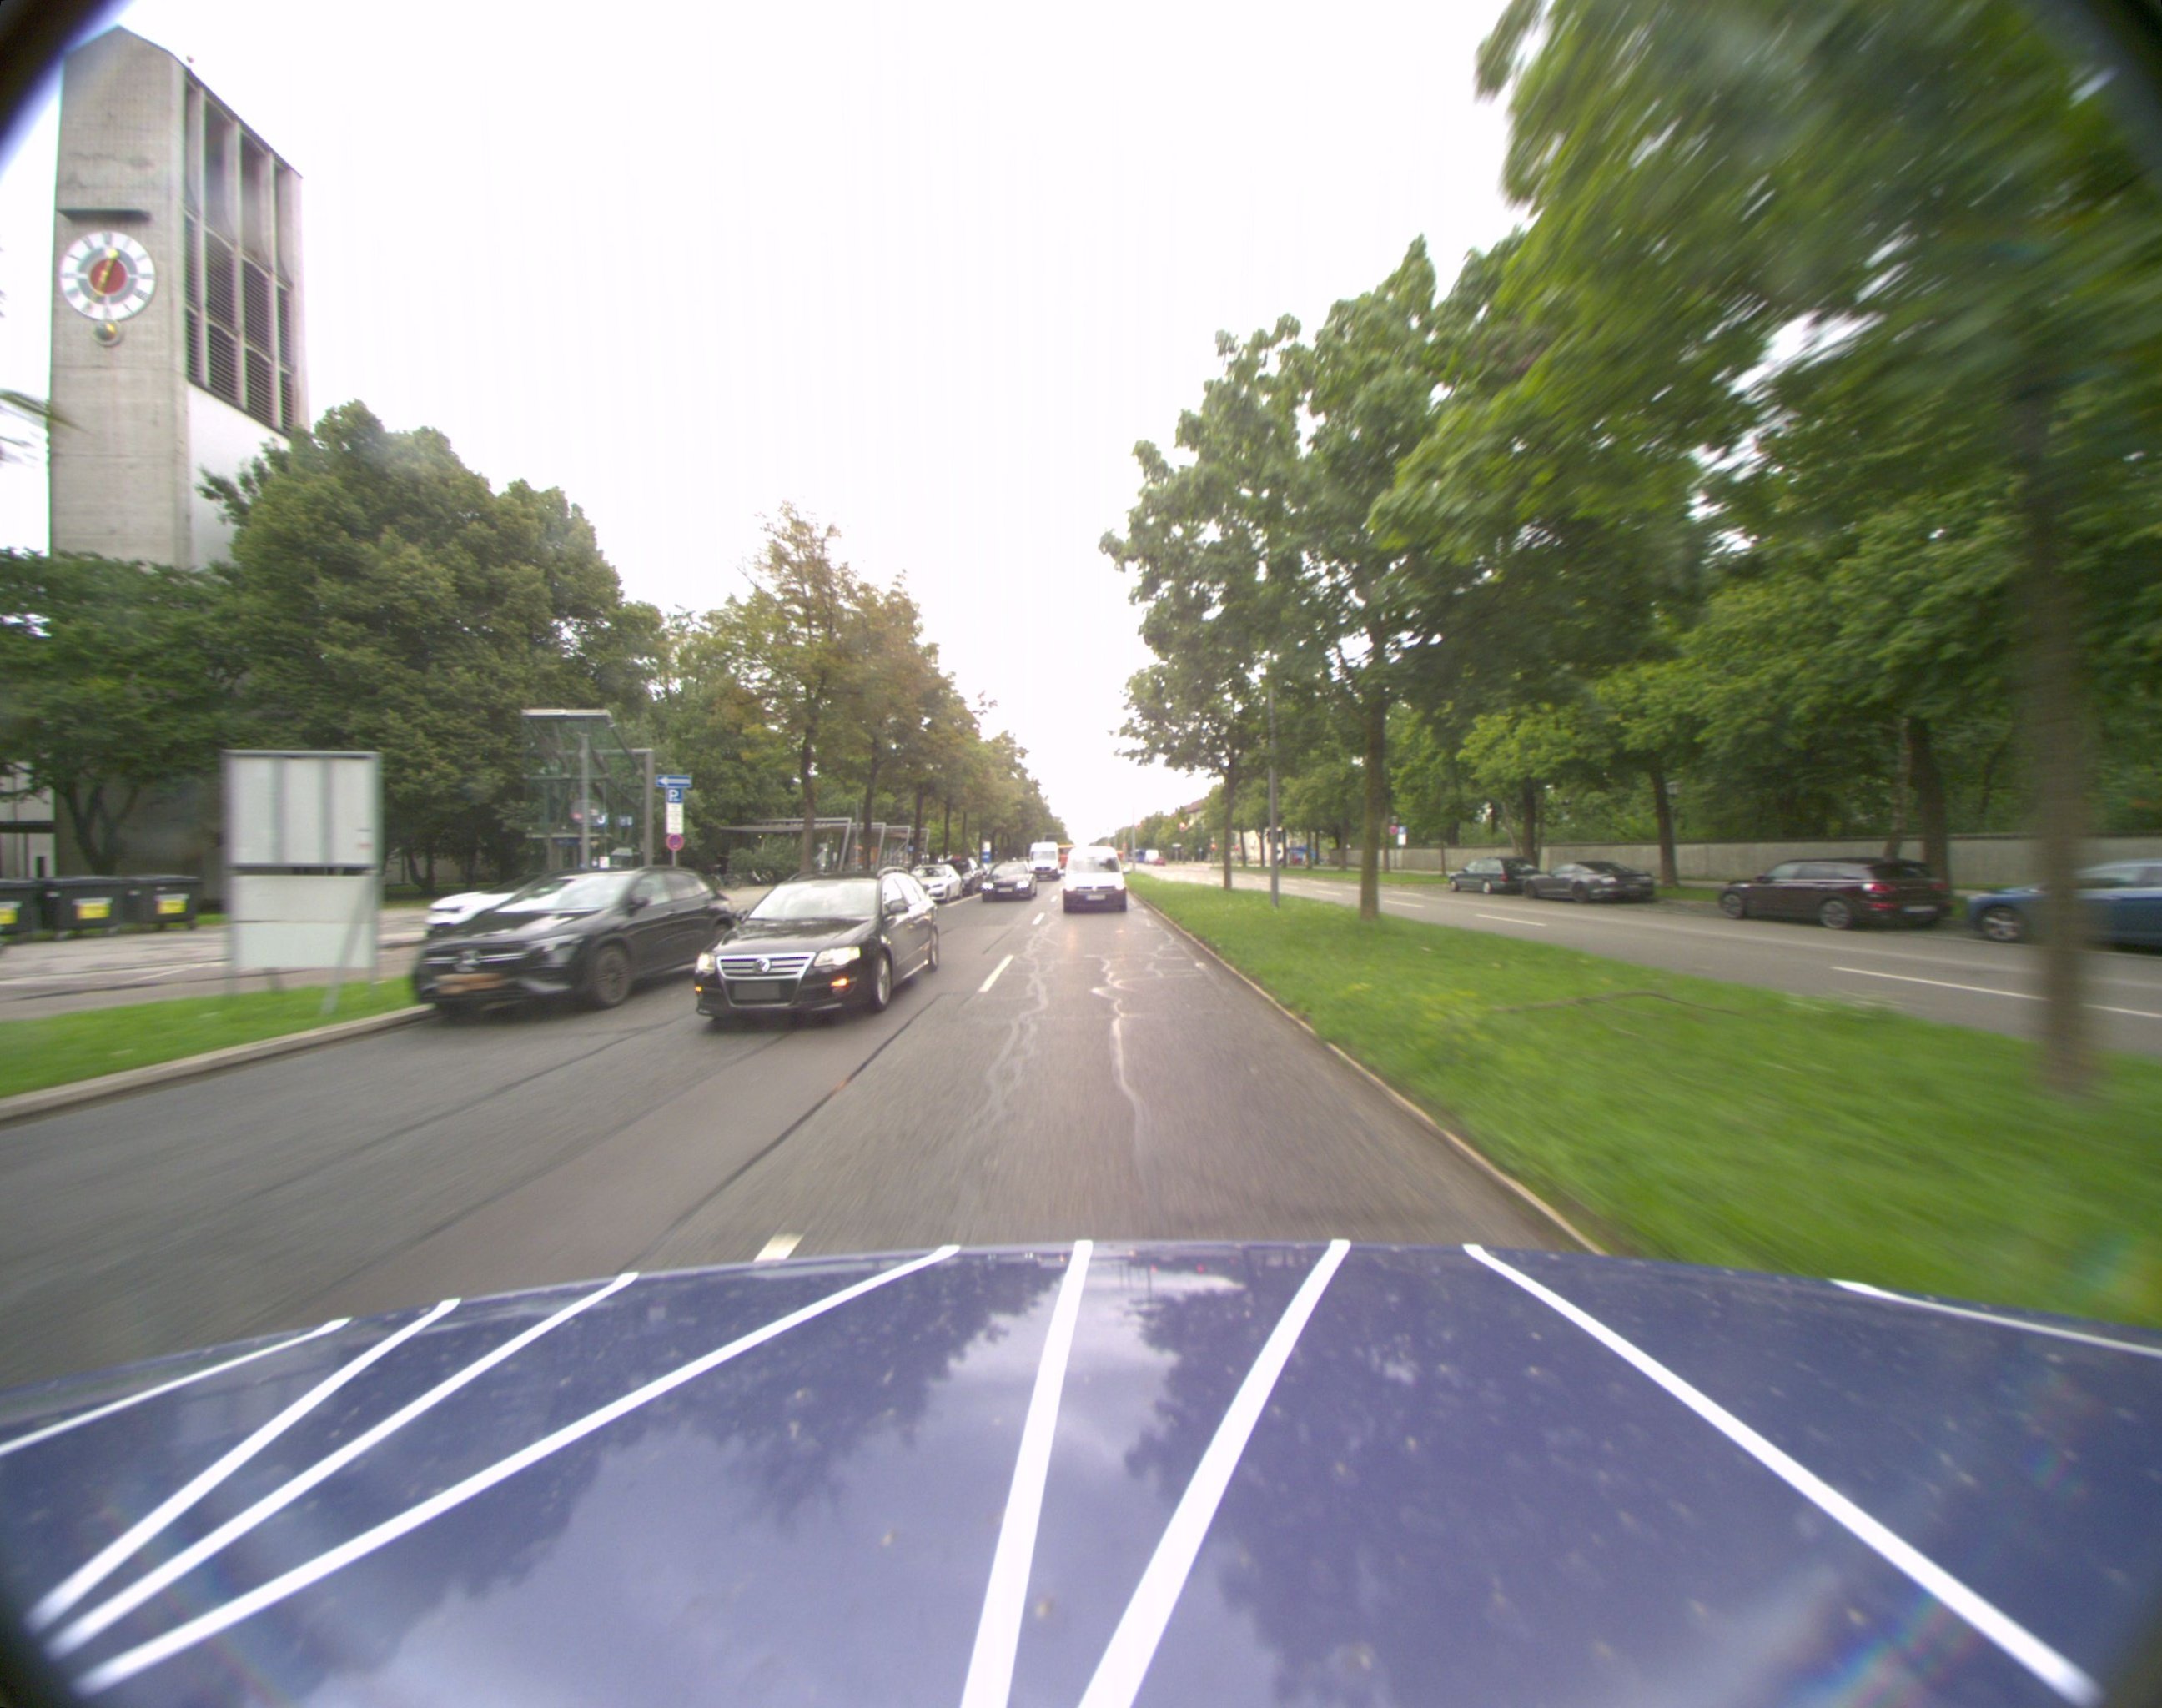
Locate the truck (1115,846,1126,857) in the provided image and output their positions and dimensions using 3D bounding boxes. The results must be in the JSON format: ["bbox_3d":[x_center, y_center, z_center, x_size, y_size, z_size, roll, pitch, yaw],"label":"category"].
[{"bbox_3d":[12.251,-0.824,235.430,2.787,3.336,7.265,-1,0,0],"label":"truck"}]

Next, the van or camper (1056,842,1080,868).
[{"bbox_3d":[-1.601,0.115,98.538,2.780,3.219,7.074,-1,0,1],"label":"van or camper"}]

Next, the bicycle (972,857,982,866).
[{"bbox_3d":[-13.175,0.949,96.032,0.863,1.191,2.000,1,0,5],"label":"bicycle"}]

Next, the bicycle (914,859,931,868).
[{"bbox_3d":[-20.085,1.198,96.353,0.716,1.147,2.133,0,1,41],"label":"bicycle"}]

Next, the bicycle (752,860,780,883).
[{"bbox_3d":[-18.897,1.032,45.656,0.606,1.273,2.550,-1,0,1],"label":"bicycle"}]

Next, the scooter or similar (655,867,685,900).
[{"bbox_3d":[-16.155,1.158,29.865,0.421,1.226,1.237,-1,0,3],"label":"scooter or similar"}]

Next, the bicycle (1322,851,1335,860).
[{"bbox_3d":[32.932,0.162,101.176,0.837,1.179,2.496,-1,0,-1],"label":"bicycle"}]

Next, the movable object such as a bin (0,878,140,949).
[{"bbox_3d":[-21.616,1.239,16.224,1.339,1.401,1.314,-1,1,-1],"label":"movable object such as a bin"}]

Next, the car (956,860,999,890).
[{"bbox_3d":[-5.381,1.046,40.042,1.637,1.430,4.304,-1,0,0],"label":"car"}]

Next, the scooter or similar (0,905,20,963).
[{"bbox_3d":[-19.369,1.423,13.272,0.501,1.012,0.833,1,1,1],"label":"scooter or similar"}]

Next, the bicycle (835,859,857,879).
[{"bbox_3d":[-15.731,0.989,50.938,0.646,1.273,2.550,-1,0,1],"label":"bicycle"}]

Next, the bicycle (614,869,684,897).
[{"bbox_3d":[-18.053,1.216,31.791,2.548,1.082,0.647,-1,1,1],"label":"bicycle"}]

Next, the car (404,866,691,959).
[{"bbox_3d":[-11.711,1.179,17.036,1.968,1.615,4.856,-1,0,38],"label":"car"}]

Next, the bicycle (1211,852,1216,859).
[{"bbox_3d":[24.539,0.261,140.608,0.546,1.174,1.826,-1,0,0],"label":"bicycle"}]

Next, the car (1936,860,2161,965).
[{"bbox_3d":[16.626,0.869,11.657,1.590,1.450,4.798,-2,0,0],"label":"car"}]

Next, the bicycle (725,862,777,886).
[{"bbox_3d":[-18.183,1.079,41.848,2.548,1.273,0.647,-1,1,1],"label":"bicycle"}]

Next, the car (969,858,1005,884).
[{"bbox_3d":[-5.773,1.036,47.211,1.638,1.445,4.078,-1,0,1],"label":"car"}]

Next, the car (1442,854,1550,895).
[{"bbox_3d":[16.952,0.776,31.376,1.804,1.481,4.915,-2,0,1],"label":"car"}]

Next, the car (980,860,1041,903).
[{"bbox_3d":[-2.646,1.001,29.601,1.819,1.421,4.671,-3,0,1],"label":"car"}]

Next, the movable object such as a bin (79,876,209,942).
[{"bbox_3d":[-21.611,1.236,17.572,1.339,1.401,1.314,-1,1,-1],"label":"movable object such as a bin"}]

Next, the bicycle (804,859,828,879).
[{"bbox_3d":[-17.740,1.021,50.992,0.646,1.273,2.550,-1,0,1],"label":"bicycle"}]

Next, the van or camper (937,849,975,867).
[{"bbox_3d":[-16.046,0.463,98.112,2.144,2.283,6.207,-1,0,18],"label":"van or camper"}]

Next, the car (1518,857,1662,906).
[{"bbox_3d":[16.791,0.846,25.377,1.663,1.388,4.706,-2,0,1],"label":"car"}]

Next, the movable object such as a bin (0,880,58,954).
[{"bbox_3d":[-21.612,1.243,14.874,1.339,1.401,1.314,-1,1,-1],"label":"movable object such as a bin"}]

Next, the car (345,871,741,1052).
[{"bbox_3d":[-6.119,1.077,9.473,1.766,1.580,4.452,-1,0,0],"label":"car"}]

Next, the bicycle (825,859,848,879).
[{"bbox_3d":[-16.402,1.013,50.948,0.646,1.273,2.550,-1,0,1],"label":"bicycle"}]

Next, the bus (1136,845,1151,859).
[{"bbox_3d":[15.788,-0.532,193.020,2.752,3.324,12.047,0,0,-1],"label":"bus"}]

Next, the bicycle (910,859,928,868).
[{"bbox_3d":[-20.671,1.220,96.905,0.716,1.147,2.133,0,1,41],"label":"bicycle"}]

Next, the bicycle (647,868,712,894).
[{"bbox_3d":[-18.001,1.212,34.081,2.548,1.082,0.647,-1,1,1],"label":"bicycle"}]

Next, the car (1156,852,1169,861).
[{"bbox_3d":[13.653,0.425,127.293,1.747,1.443,4.657,1,0,1],"label":"car"}]

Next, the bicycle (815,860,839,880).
[{"bbox_3d":[-17.062,1.035,51.075,0.646,1.273,2.550,-1,0,1],"label":"bicycle"}]

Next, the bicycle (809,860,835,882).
[{"bbox_3d":[-15.509,0.998,45.621,0.646,1.273,2.550,-1,0,1],"label":"bicycle"}]

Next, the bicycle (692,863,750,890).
[{"bbox_3d":[-17.818,1.094,37.661,2.548,1.273,0.647,-1,1,1],"label":"bicycle"}]

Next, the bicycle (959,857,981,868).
[{"bbox_3d":[-12.656,0.942,86.423,2.344,1.151,0.585,1,0,0],"label":"bicycle"}]

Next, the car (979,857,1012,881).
[{"bbox_3d":[-5.825,1.016,52.247,1.722,1.500,4.223,-1,0,1],"label":"car"}]

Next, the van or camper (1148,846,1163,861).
[{"bbox_3d":[13.735,-0.032,140.705,2.183,2.631,6.951,1,0,1],"label":"van or camper"}]

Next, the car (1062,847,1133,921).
[{"bbox_3d":[0.379,0.737,21.293,1.752,1.809,4.670,-1,0,-1],"label":"car"}]

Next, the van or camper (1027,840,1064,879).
[{"bbox_3d":[-2.411,0.377,53.536,2.183,2.546,7.074,-1,0,1],"label":"van or camper"}]

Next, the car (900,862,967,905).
[{"bbox_3d":[-5.543,1.058,29.088,1.657,1.425,4.482,-1,0,0],"label":"car"}]

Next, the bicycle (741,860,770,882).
[{"bbox_3d":[-19.525,1.008,45.644,0.606,1.273,2.550,-1,0,1],"label":"bicycle"}]

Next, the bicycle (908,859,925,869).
[{"bbox_3d":[-20.475,1.216,94.657,0.716,1.147,2.133,0,1,41],"label":"bicycle"}]

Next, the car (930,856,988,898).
[{"bbox_3d":[-5.369,0.962,33.898,1.791,1.665,4.595,-1,0,0],"label":"car"}]

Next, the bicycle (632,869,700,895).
[{"bbox_3d":[-18.011,1.214,33.010,2.548,1.082,0.647,-1,1,1],"label":"bicycle"}]

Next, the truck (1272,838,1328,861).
[{"bbox_3d":[33.841,-0.681,117.607,7.817,3.468,2.772,-1,1,2],"label":"truck"}]

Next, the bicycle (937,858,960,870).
[{"bbox_3d":[-13.942,1.027,80.051,2.344,1.151,0.529,1,0,0],"label":"bicycle"}]

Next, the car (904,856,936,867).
[{"bbox_3d":[-23.928,1.055,112.777,4.312,1.489,1.887,-1,0,-2],"label":"car"}]

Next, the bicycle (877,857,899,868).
[{"bbox_3d":[-21.922,0.978,86.389,2.344,1.151,0.529,1,0,0],"label":"bicycle"}]

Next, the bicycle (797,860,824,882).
[{"bbox_3d":[-16.229,1.009,45.658,0.646,1.273,2.550,-1,0,1],"label":"bicycle"}]

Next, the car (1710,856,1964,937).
[{"bbox_3d":[16.464,0.831,16.912,1.574,1.494,4.304,-2,0,5],"label":"car"}]

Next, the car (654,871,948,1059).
[{"bbox_3d":[-2.845,1.022,8.968,1.752,1.466,4.670,-2,0,-1],"label":"car"}]
